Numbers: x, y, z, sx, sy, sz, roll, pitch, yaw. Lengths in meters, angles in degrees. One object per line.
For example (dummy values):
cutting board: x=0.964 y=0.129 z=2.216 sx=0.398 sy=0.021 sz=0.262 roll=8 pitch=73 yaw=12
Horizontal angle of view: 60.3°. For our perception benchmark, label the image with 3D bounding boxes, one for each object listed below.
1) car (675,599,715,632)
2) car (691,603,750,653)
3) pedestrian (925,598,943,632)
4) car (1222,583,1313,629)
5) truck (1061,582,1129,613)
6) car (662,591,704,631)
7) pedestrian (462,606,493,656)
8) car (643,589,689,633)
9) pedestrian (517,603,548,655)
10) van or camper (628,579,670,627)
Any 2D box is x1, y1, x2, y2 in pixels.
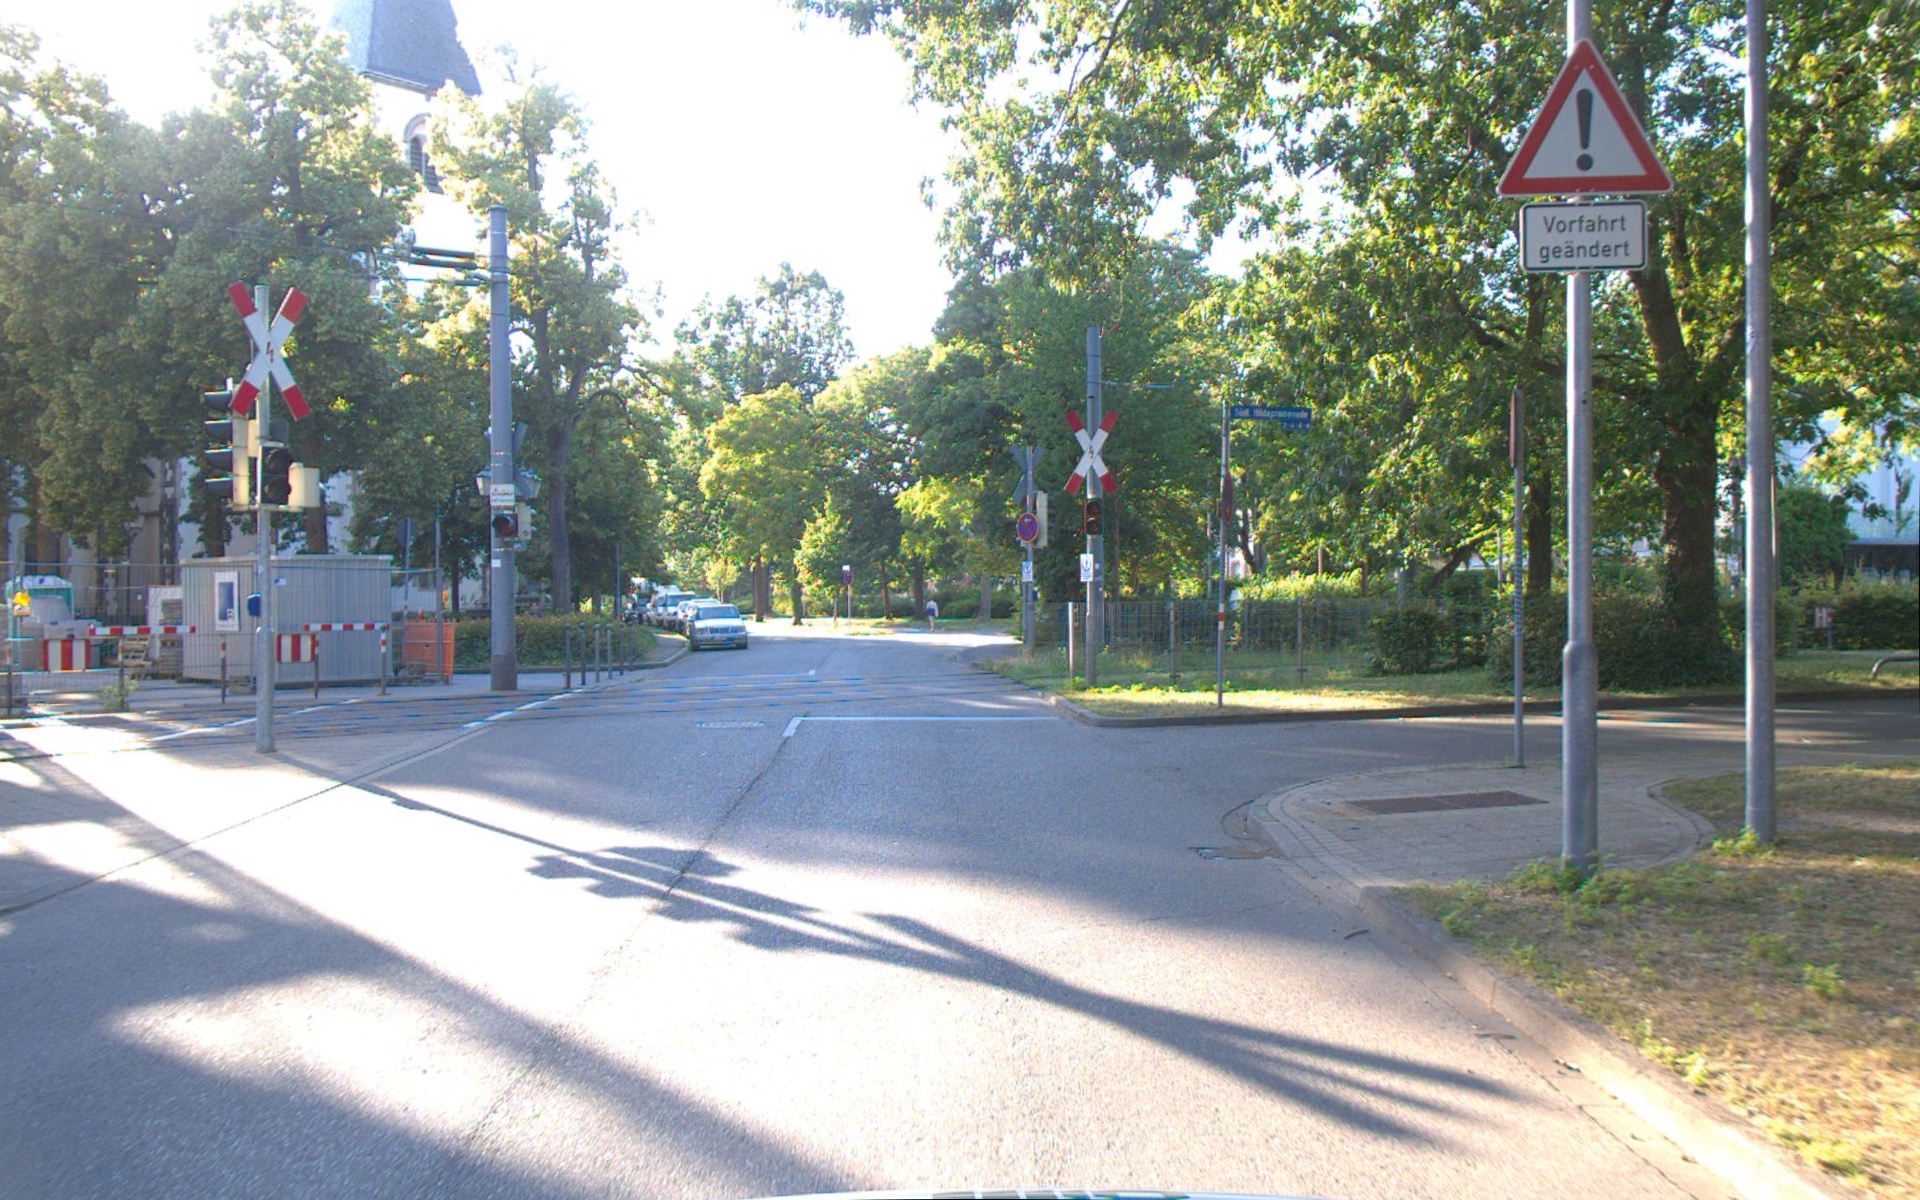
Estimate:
car: x=-12.498 y=0.706 z=77.945 sx=1.588 sy=1.527 sz=3.684 roll=0 pitch=0 yaw=-13
car: x=-7.699 y=0.871 z=53.037 sx=1.747 sy=1.440 sz=4.489 roll=-3 pitch=1 yaw=-9
pedestrian: x=-1.214 y=0.702 z=77.292 sx=0.758 sy=1.602 sz=0.767 roll=-1 pitch=0 yaw=-4
car: x=14.205 y=0.249 z=76.271 sx=1.922 sy=2.049 sz=5.127 roll=0 pitch=0 yaw=39
truck: x=13.666 y=-0.250 z=167.821 sx=2.580 sy=3.082 sz=7.917 roll=0 pitch=0 yaw=-33
car: x=-14.445 y=0.550 z=86.095 sx=1.819 sy=1.980 sz=4.824 roll=0 pitch=0 yaw=-13
pedestrian: x=-12.478 y=0.793 z=42.785 sx=0.539 sy=1.254 sz=0.725 roll=-1 pitch=0 yaw=4
car: x=-16.604 y=0.614 z=93.200 sx=1.823 sy=2.397 sz=5.158 roll=0 pitch=0 yaw=-18
pedestrian: x=-11.100 y=0.757 z=42.948 sx=0.539 sy=1.320 sz=0.766 roll=-1 pitch=0 yaw=4
van or camper: x=-19.825 y=0.153 z=105.304 sx=2.056 sy=2.959 sz=6.305 roll=0 pitch=0 yaw=-16
